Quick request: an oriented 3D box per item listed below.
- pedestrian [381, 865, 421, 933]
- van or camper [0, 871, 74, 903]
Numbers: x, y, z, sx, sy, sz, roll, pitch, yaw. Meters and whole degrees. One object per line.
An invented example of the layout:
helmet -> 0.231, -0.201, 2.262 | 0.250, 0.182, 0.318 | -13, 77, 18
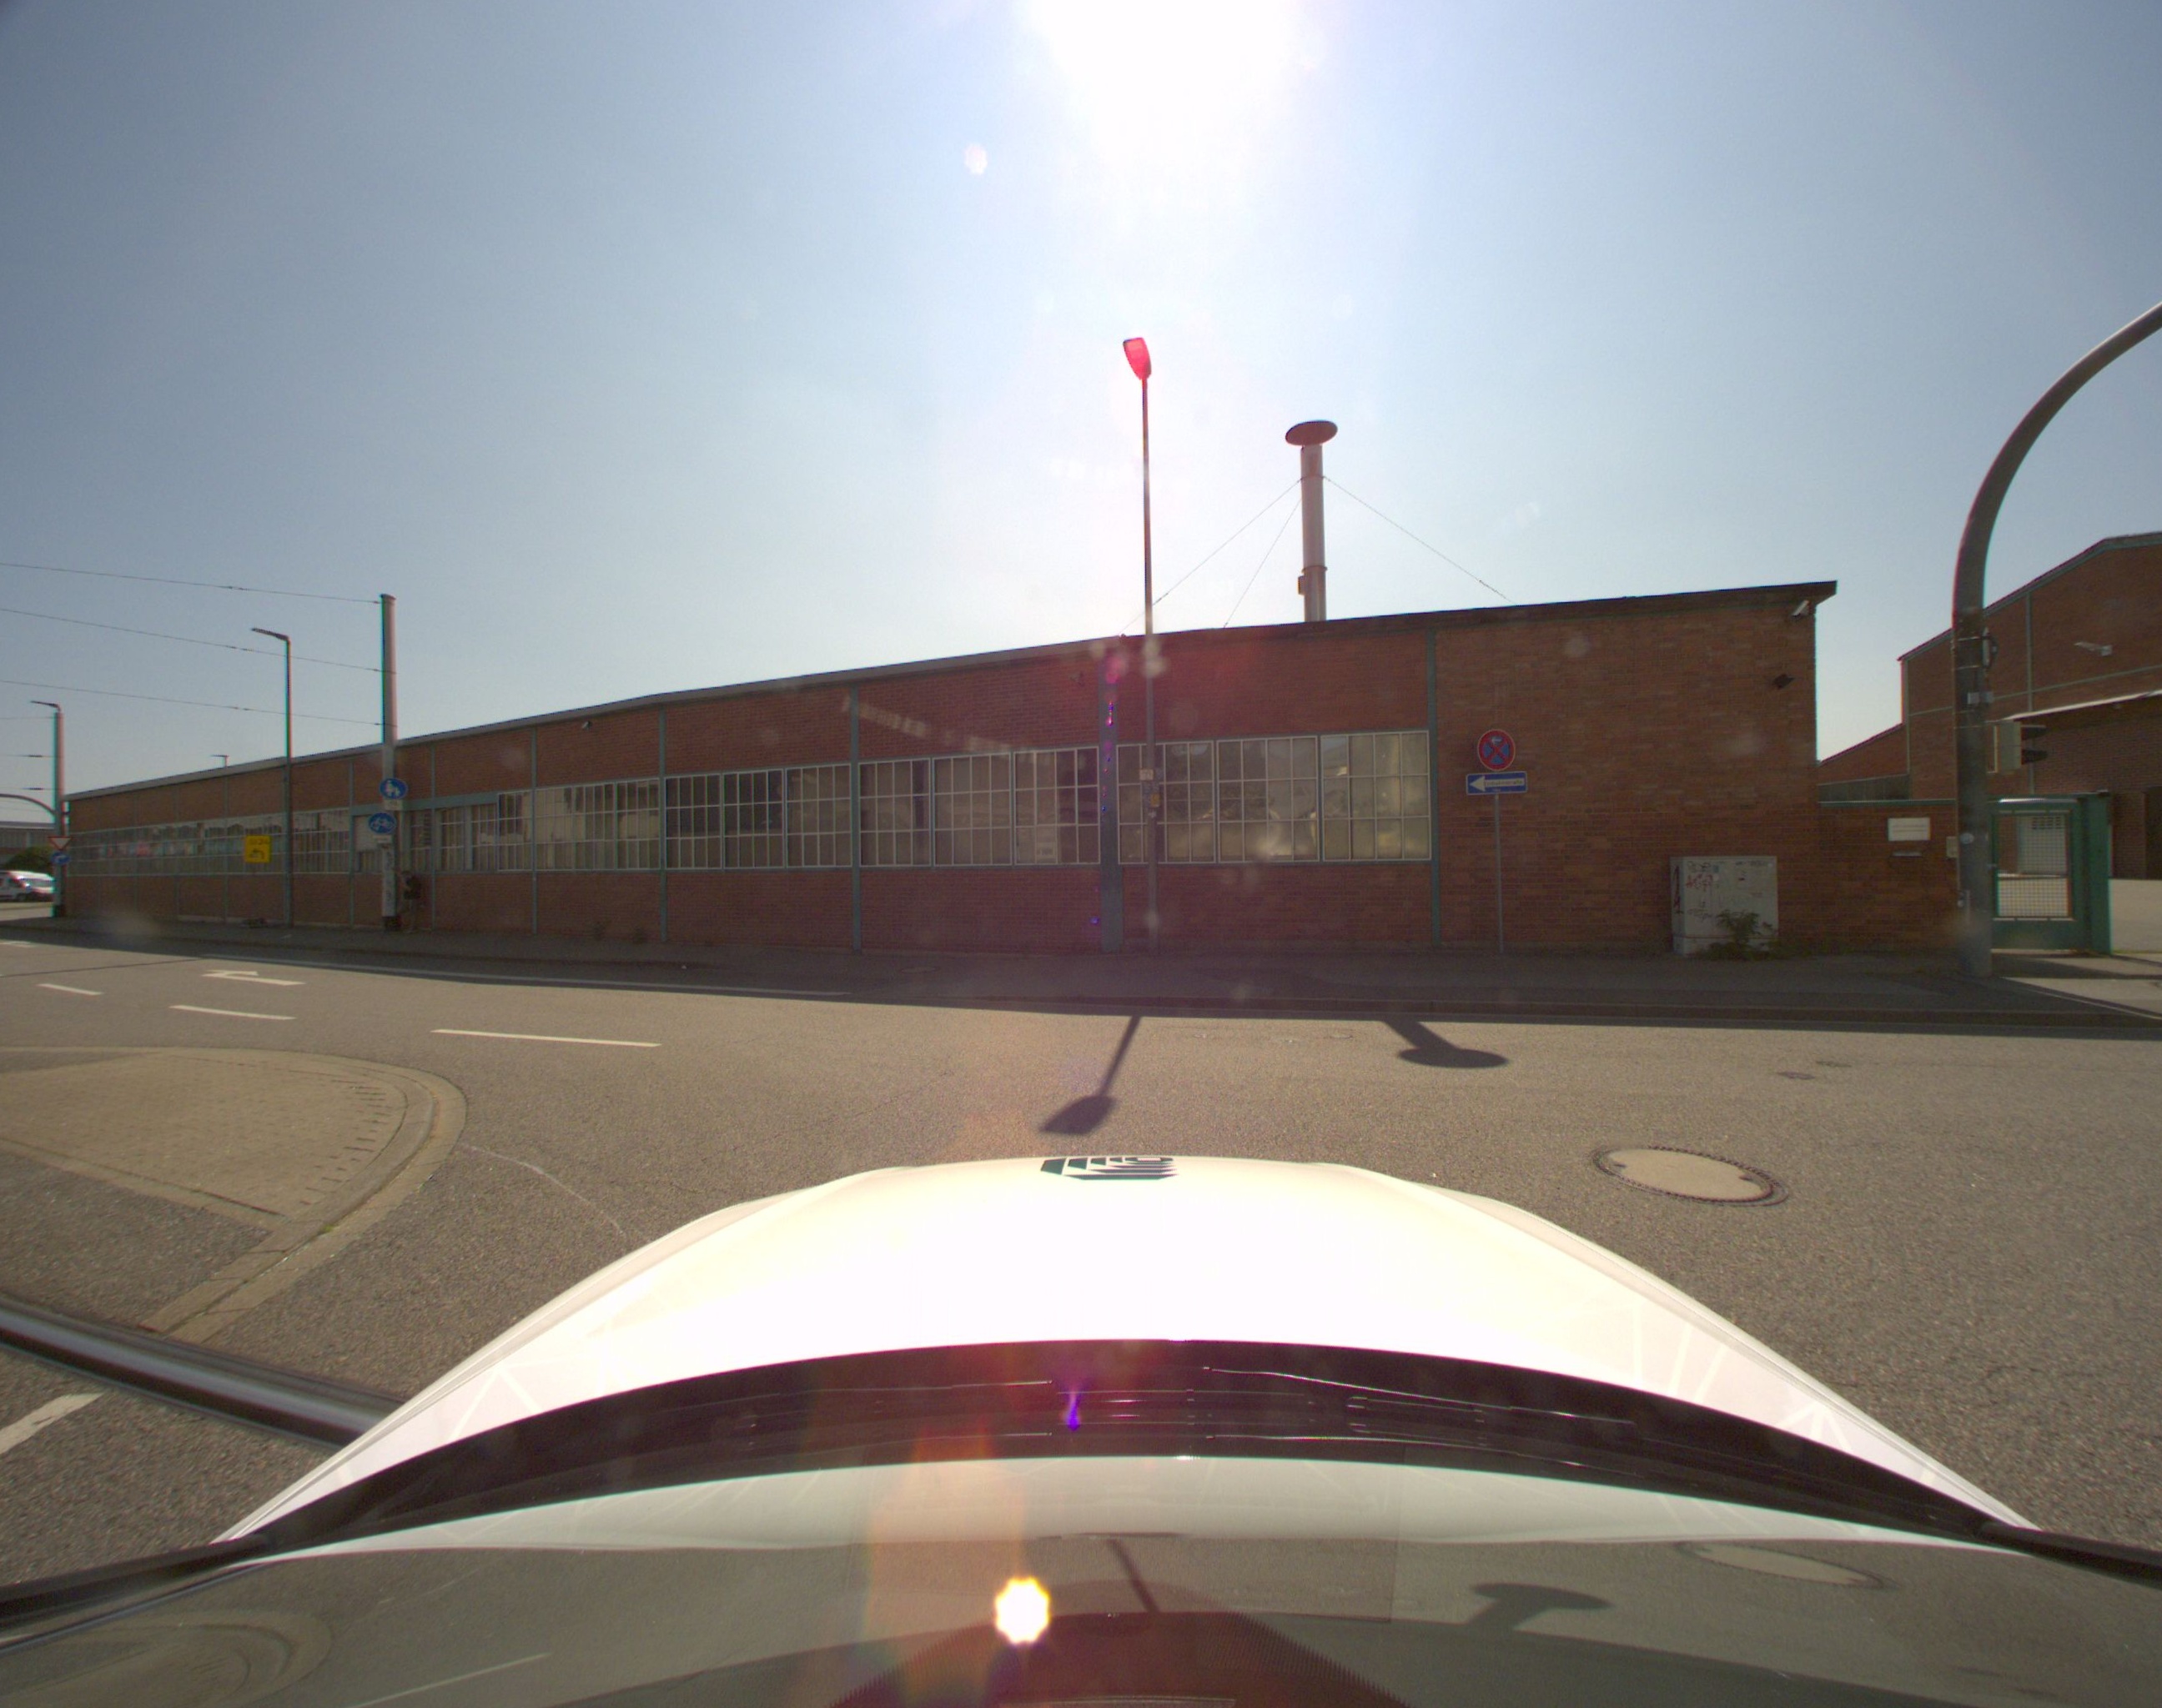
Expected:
pedestrian -> -18.238, 1.197, 21.857 | 0.443, 1.765, 0.690 | 1, 0, 31
van or camper -> -88.488, 2.738, 67.990 | 5.363, 2.440, 2.284 | 2, 0, -7
